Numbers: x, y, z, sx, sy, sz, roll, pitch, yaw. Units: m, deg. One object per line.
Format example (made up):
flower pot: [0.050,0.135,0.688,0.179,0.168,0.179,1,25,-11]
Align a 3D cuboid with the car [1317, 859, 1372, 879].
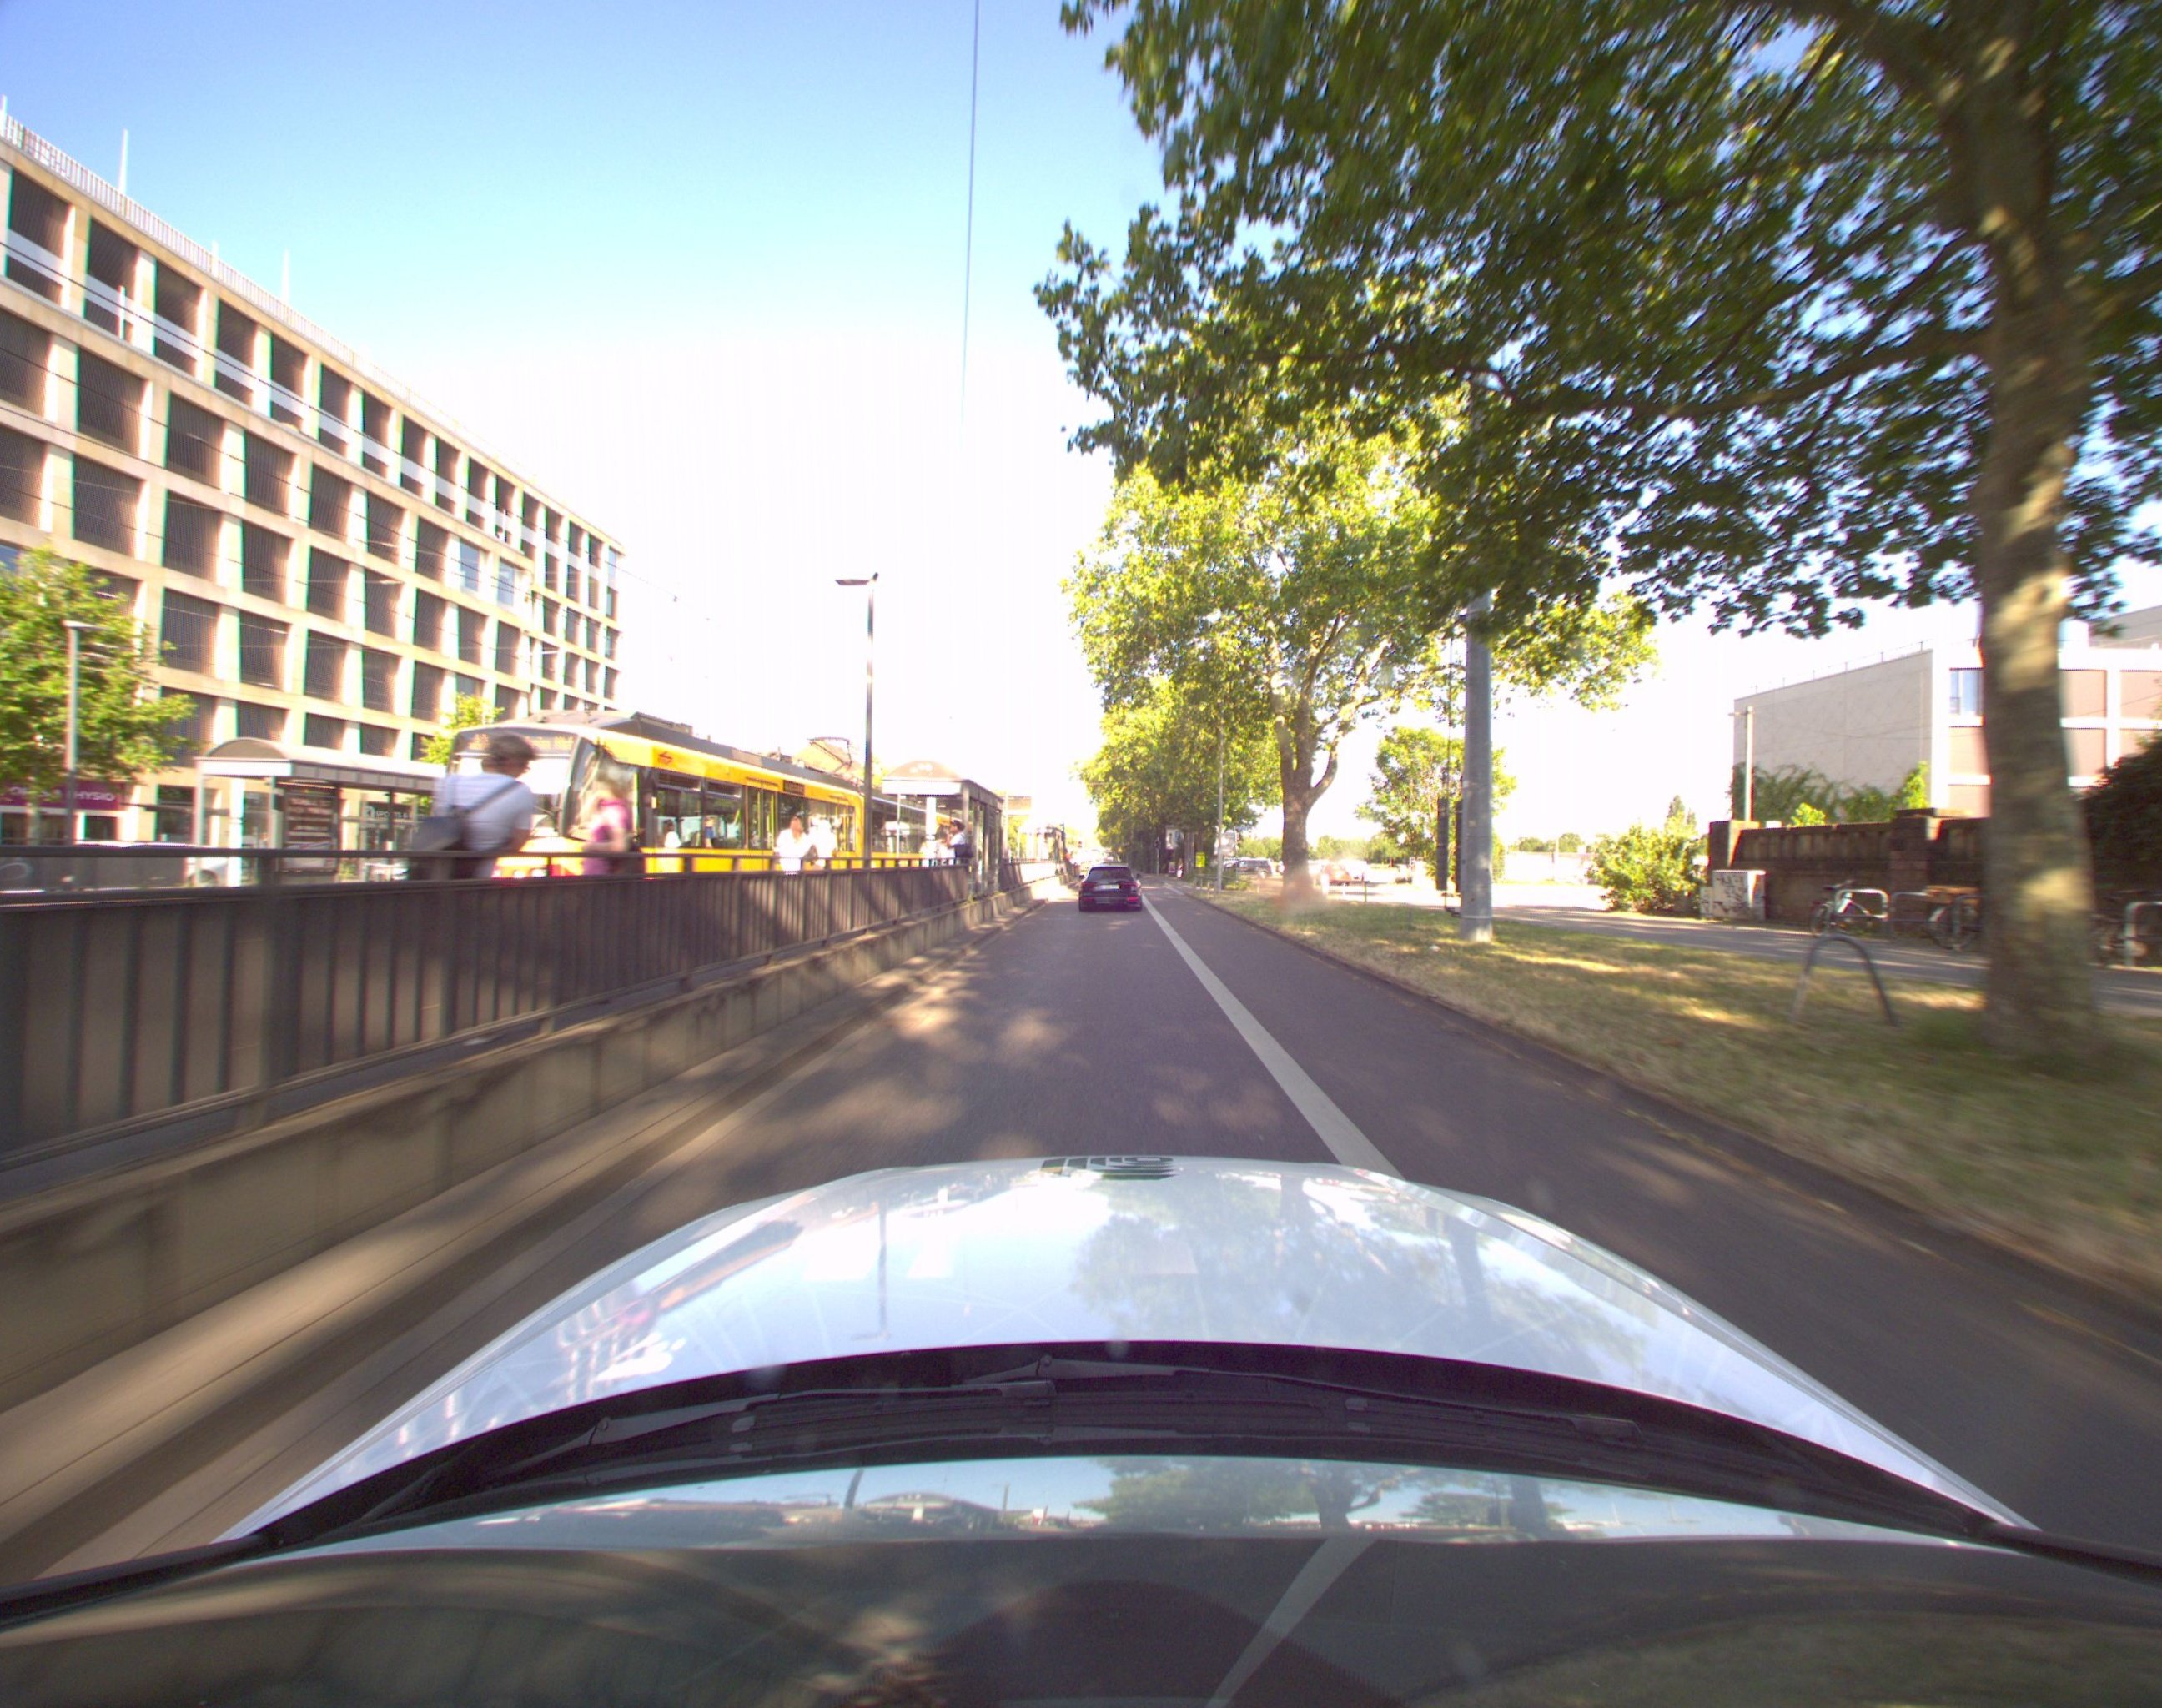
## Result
car: [23.482,1.312,72.671,4.436,1.658,1.921,1,0,6]

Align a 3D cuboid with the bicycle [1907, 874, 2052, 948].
bicycle: [14.031,0.883,12.739,1.767,1.120,0.439,0,-1,0]

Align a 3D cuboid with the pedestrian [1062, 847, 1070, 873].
pedestrian: [-0.986,0.403,53.497,0.410,1.717,0.666,1,-1,2]

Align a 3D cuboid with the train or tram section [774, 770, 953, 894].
train or tram section: [-7.714,-0.653,31.348,3.297,3.829,11.847,1,0,2]

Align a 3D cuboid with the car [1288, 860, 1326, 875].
car: [24.815,1.500,89.494,3.797,1.609,1.671,1,-1,2]

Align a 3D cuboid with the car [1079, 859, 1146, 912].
car: [0.887,0.899,24.905,1.872,1.457,3.355,-1,0,-1]

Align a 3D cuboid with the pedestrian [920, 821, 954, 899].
pedestrian: [-3.355,0.141,19.058,0.607,1.784,0.681,1,-1,2]

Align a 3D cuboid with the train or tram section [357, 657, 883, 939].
train or tram section: [-8.084,-0.742,18.339,3.297,3.829,14.223,1,0,2]

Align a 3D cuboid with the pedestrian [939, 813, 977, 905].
pedestrian: [-2.437,0.104,16.238,0.609,1.784,0.614,1,-1,2]

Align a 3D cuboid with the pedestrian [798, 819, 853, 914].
pedestrian: [-4.956,0.236,15.801,0.799,1.784,0.642,2,-1,-38]

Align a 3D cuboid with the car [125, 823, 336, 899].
car: [-24.870,0.191,24.065,1.987,2.013,3.999,1,0,-1]

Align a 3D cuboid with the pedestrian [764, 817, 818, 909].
pedestrian: [-5.765,0.184,16.222,0.790,1.784,0.626,1,-1,2]

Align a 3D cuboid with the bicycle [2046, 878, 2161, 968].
bicycle: [13.727,0.885,10.611,1.767,1.120,0.439,0,-1,0]

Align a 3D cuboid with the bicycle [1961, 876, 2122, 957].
bicycle: [13.772,0.884,11.698,1.767,1.120,0.439,0,-1,0]

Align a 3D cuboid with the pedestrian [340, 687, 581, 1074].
pedestrian: [-2.880,0.110,3.840,0.609,1.668,0.614,1,-1,3]

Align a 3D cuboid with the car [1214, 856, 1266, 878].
car: [13.046,1.054,66.910,3.971,1.764,1.834,1,-1,2]

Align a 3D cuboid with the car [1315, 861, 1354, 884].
car: [17.280,1.253,55.693,1.608,1.515,3.805,1,0,2]

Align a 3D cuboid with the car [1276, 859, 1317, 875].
car: [25.883,1.566,97.810,4.341,1.816,1.998,1,-1,-3]

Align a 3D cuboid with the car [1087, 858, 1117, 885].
car: [1.319,1.078,52.349,1.757,1.619,3.999,1,0,0]

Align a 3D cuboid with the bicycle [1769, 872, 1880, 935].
bicycle: [13.679,0.899,14.996,1.770,1.120,0.438,0,-1,-6]

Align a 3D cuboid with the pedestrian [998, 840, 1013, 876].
pedestrian: [-3.619,0.210,39.271,0.609,1.713,0.659,1,-1,0]

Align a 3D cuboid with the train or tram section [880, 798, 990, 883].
train or tram section: [-7.369,-0.579,43.260,3.297,3.829,11.847,1,0,2]

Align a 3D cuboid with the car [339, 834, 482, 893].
car: [-24.937,0.335,30.496,1.987,2.013,3.999,1,0,-1]

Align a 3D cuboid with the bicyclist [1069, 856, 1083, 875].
bicyclist: [-0.428,1.013,72.254,0.914,1.717,0.761,2,-1,-43]

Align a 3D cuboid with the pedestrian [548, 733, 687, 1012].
pedestrian: [-2.911,0.113,5.172,0.613,1.642,0.610,1,-1,-18]

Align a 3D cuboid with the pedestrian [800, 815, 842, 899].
pedestrian: [-5.680,0.062,17.832,0.609,1.784,0.775,1,-1,2]

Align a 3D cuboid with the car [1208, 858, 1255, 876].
car: [13.288,1.155,72.088,3.870,1.505,1.889,1,0,3]

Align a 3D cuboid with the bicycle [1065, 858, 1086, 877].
bicycle: [-0.458,1.214,72.254,1.984,1.717,0.584,2,-1,-43]

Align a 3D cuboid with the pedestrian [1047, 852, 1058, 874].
pedestrian: [-1.651,0.512,47.343,0.565,1.293,0.501,1,-1,1]

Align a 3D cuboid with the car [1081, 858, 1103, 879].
car: [1.091,1.403,79.579,1.986,2.014,4.002,1,0,2]

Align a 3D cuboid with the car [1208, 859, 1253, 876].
car: [12.769,1.147,69.777,3.580,1.462,1.679,1,0,2]
